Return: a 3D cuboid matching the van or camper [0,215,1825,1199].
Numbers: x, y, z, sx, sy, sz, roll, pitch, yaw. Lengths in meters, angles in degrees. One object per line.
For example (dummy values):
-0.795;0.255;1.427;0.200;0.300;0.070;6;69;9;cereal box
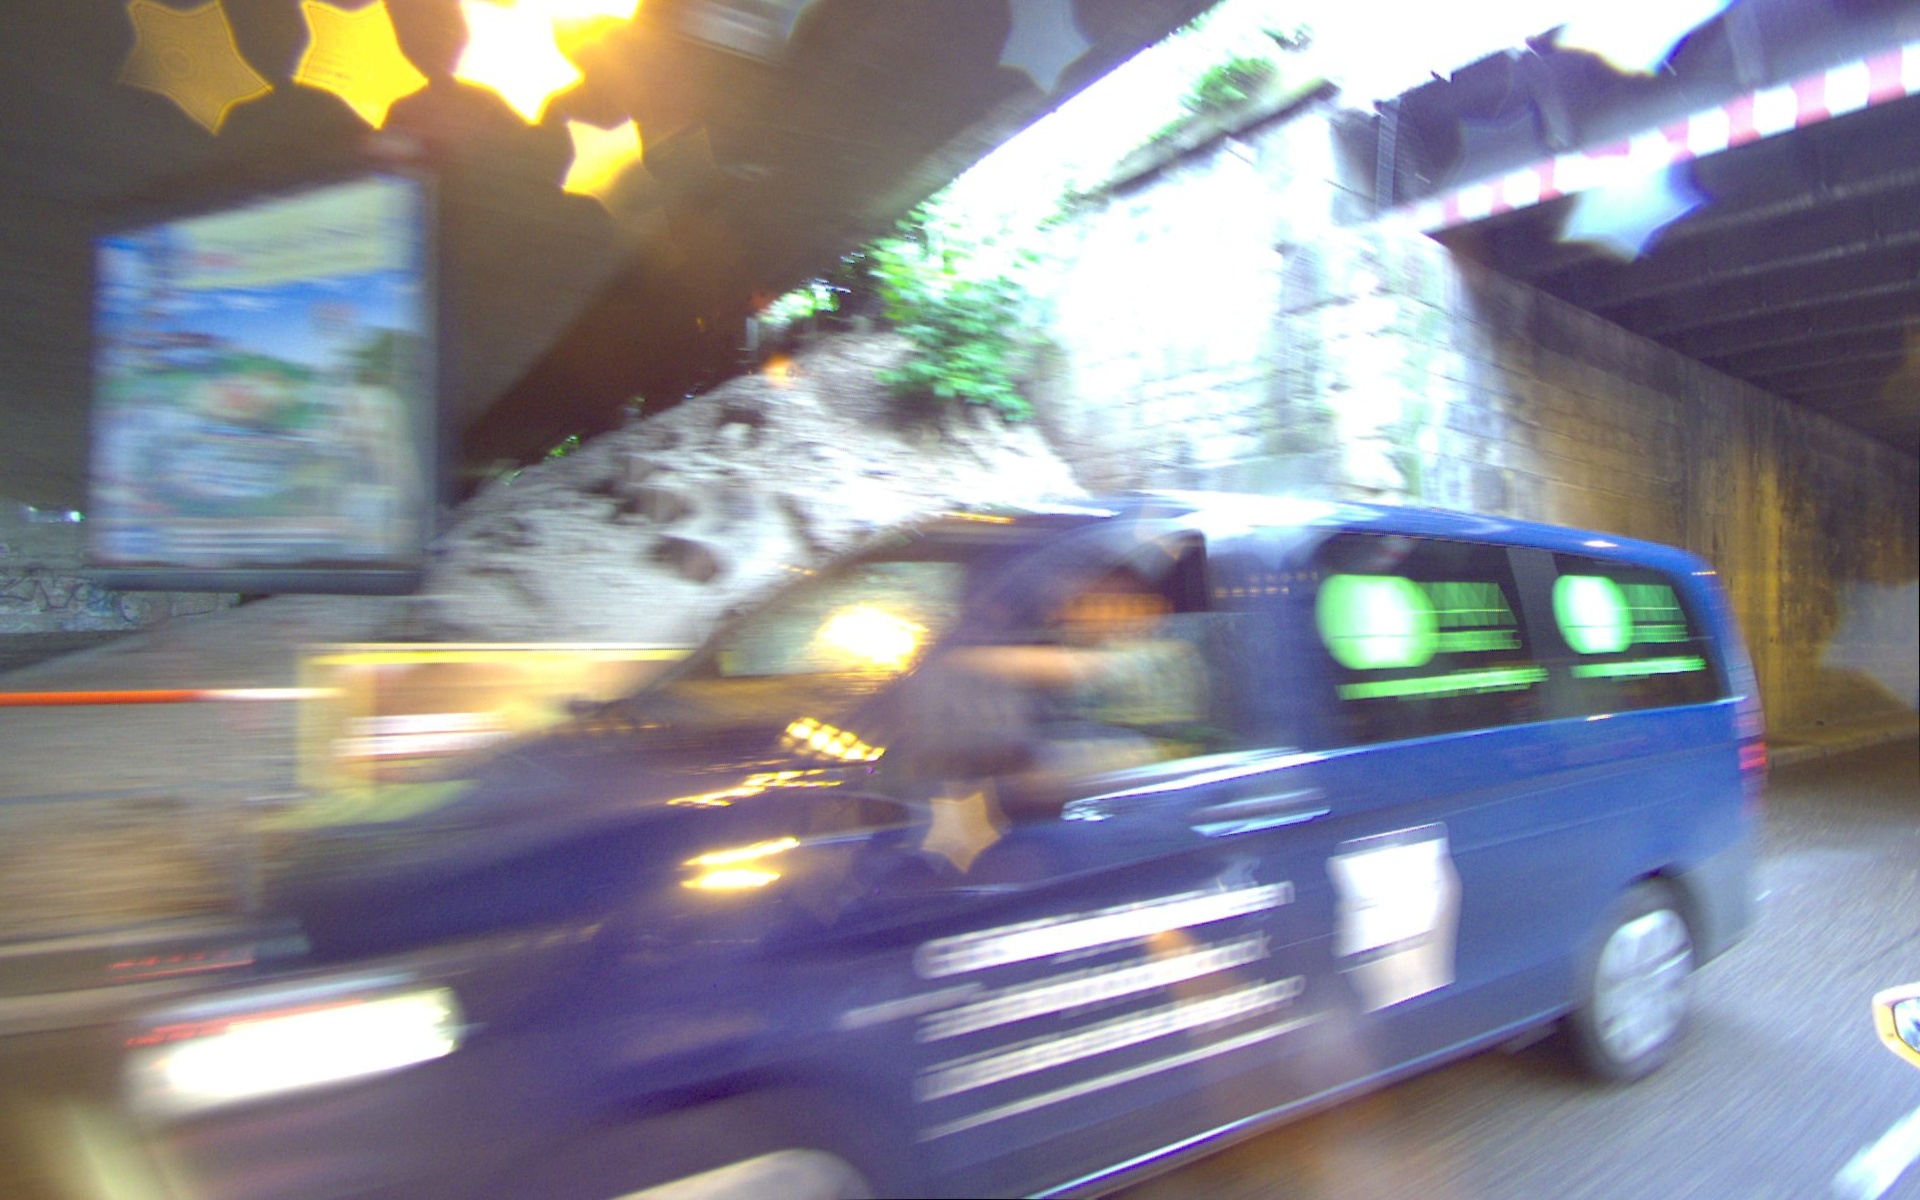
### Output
0.556;0.585;3.325;5.079;1.893;1.984;2;-2;-30;van or camper
